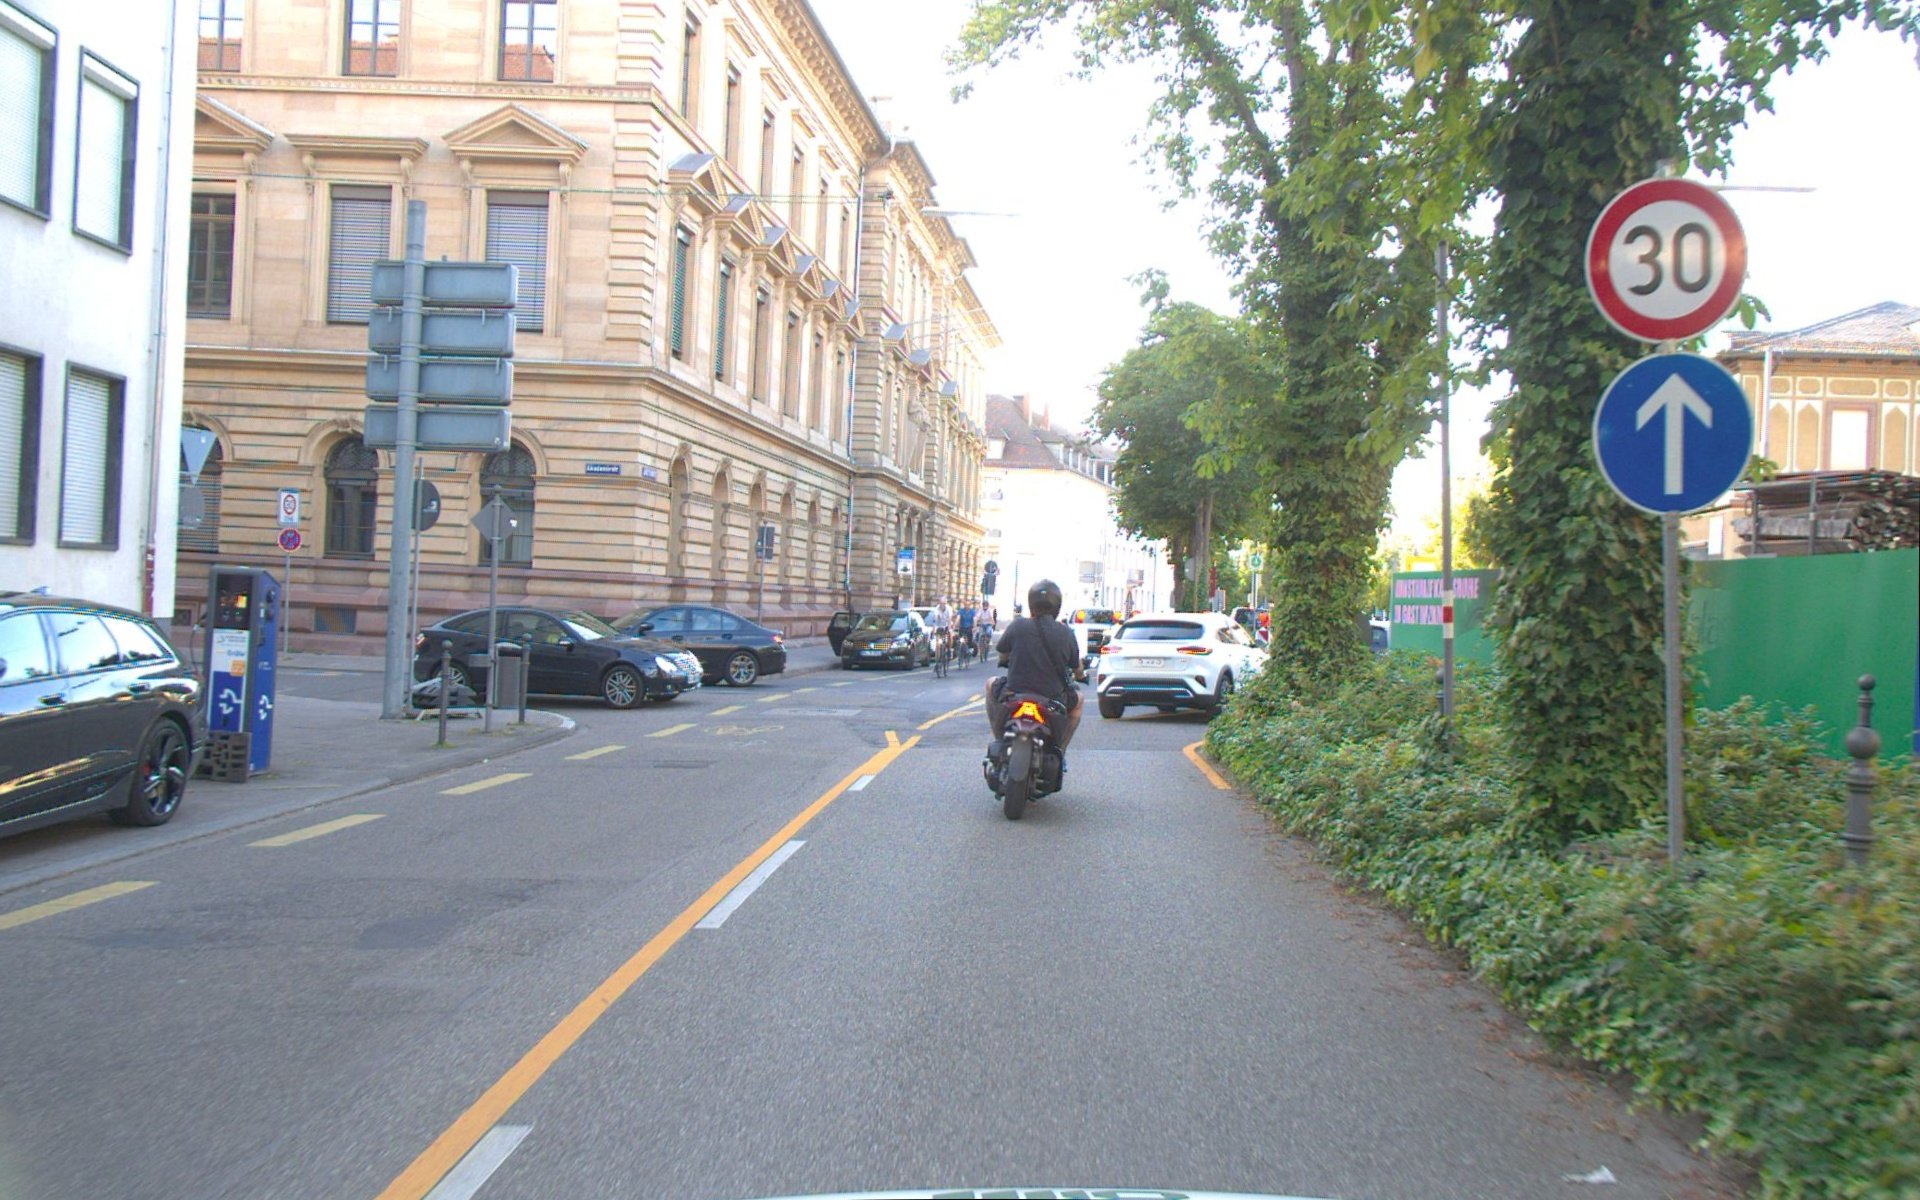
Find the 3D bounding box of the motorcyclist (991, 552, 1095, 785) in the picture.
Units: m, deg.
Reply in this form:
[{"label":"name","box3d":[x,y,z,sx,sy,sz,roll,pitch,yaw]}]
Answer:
[{"label":"motorcyclist","box3d":[0.637,0.502,12.508,0.643,1.679,0.651,3,0,9]}]

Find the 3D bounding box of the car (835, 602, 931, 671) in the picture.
[{"label":"car","box3d":[-1.873,0.878,41.540,1.952,1.594,4.290,1,0,3]}]

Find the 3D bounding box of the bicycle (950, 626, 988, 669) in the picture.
[{"label":"bicycle","box3d":[0.234,1.205,42.467,0.521,1.053,1.908,1,0,14]}]

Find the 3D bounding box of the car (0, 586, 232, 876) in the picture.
[{"label":"car","box3d":[-6.156,0.708,9.523,1.787,1.530,4.759,3,0,-1]}]

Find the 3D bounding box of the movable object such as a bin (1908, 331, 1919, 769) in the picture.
[{"label":"movable object such as a bin","box3d":[11.600,-0.504,13.567,3.238,4.618,7.907,1,0,2]}]

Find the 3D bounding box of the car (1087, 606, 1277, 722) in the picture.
[{"label":"car","box3d":[3.293,0.844,23.910,1.813,1.506,4.057,0,0,21]}]

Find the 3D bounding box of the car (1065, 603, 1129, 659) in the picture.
[{"label":"car","box3d":[4.456,0.970,54.232,1.952,1.724,4.401,1,0,3]}]

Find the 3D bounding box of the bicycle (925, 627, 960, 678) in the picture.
[{"label":"bicycle","box3d":[-0.377,1.157,37.071,0.570,1.053,2.130,1,0,5]}]

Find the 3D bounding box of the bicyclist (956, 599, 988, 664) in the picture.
[{"label":"bicyclist","box3d":[0.309,0.792,42.517,0.615,1.642,0.870,1,0,14]}]

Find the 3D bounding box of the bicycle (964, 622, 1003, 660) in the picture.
[{"label":"bicycle","box3d":[0.704,1.201,48.593,0.522,1.053,2.036,1,0,19]}]

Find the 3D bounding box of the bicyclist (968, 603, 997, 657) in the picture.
[{"label":"bicyclist","box3d":[0.658,0.874,48.569,0.615,1.581,0.732,1,0,19]}]

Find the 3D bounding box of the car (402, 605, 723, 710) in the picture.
[{"label":"car","box3d":[-5.819,0.810,24.442,4.221,1.414,1.777,1,0,9]}]

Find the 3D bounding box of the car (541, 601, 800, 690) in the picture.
[{"label":"car","box3d":[-5.195,0.808,29.591,4.384,1.486,1.767,1,0,-17]}]

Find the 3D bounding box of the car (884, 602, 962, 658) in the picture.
[{"label":"car","box3d":[-1.046,0.857,48.889,1.952,1.555,4.186,1,0,3]}]

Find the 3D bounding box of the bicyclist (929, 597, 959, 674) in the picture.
[{"label":"bicyclist","box3d":[-0.364,0.799,37.110,0.554,1.696,0.835,1,0,6]}]

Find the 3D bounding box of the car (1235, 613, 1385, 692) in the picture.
[{"label":"car","box3d":[7.554,1.123,35.450,1.808,1.489,4.046,3,0,32]}]

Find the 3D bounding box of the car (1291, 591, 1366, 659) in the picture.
[{"label":"car","box3d":[11.549,0.779,52.014,1.801,1.945,4.060,3,0,7]}]

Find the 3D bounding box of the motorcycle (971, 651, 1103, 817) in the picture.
[{"label":"motorcycle","box3d":[0.611,0.964,12.473,0.779,1.084,1.726,3,0,8]}]
